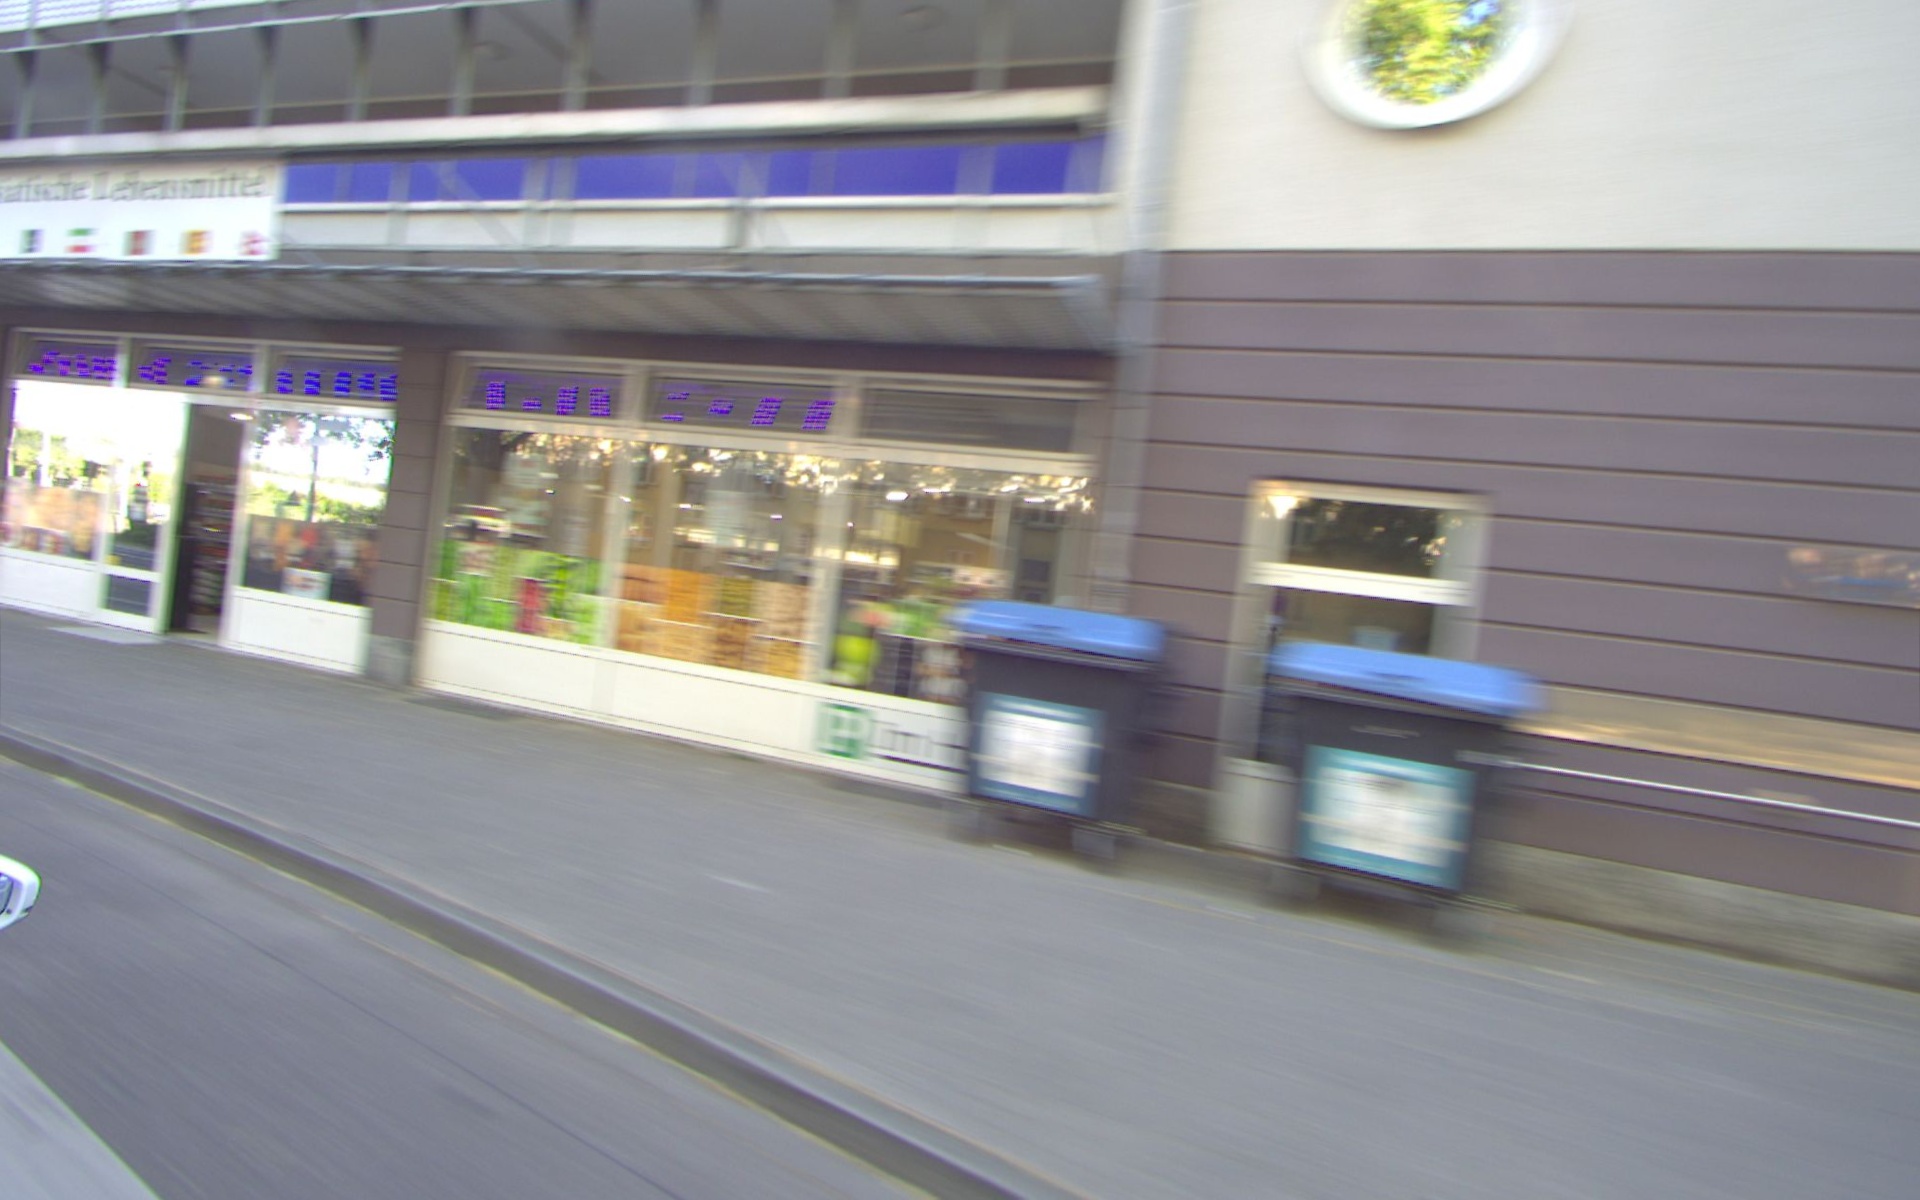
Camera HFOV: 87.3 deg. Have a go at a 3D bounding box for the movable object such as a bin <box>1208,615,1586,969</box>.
[{"bbox_3d":[2.314,0.925,5.562,1.565,1.504,1.189,7,2,20],"label":"movable object such as a bin"}]

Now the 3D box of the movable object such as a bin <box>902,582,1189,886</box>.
[{"bbox_3d":[0.560,0.730,6.164,1.362,1.504,1.113,7,2,20],"label":"movable object such as a bin"}]
